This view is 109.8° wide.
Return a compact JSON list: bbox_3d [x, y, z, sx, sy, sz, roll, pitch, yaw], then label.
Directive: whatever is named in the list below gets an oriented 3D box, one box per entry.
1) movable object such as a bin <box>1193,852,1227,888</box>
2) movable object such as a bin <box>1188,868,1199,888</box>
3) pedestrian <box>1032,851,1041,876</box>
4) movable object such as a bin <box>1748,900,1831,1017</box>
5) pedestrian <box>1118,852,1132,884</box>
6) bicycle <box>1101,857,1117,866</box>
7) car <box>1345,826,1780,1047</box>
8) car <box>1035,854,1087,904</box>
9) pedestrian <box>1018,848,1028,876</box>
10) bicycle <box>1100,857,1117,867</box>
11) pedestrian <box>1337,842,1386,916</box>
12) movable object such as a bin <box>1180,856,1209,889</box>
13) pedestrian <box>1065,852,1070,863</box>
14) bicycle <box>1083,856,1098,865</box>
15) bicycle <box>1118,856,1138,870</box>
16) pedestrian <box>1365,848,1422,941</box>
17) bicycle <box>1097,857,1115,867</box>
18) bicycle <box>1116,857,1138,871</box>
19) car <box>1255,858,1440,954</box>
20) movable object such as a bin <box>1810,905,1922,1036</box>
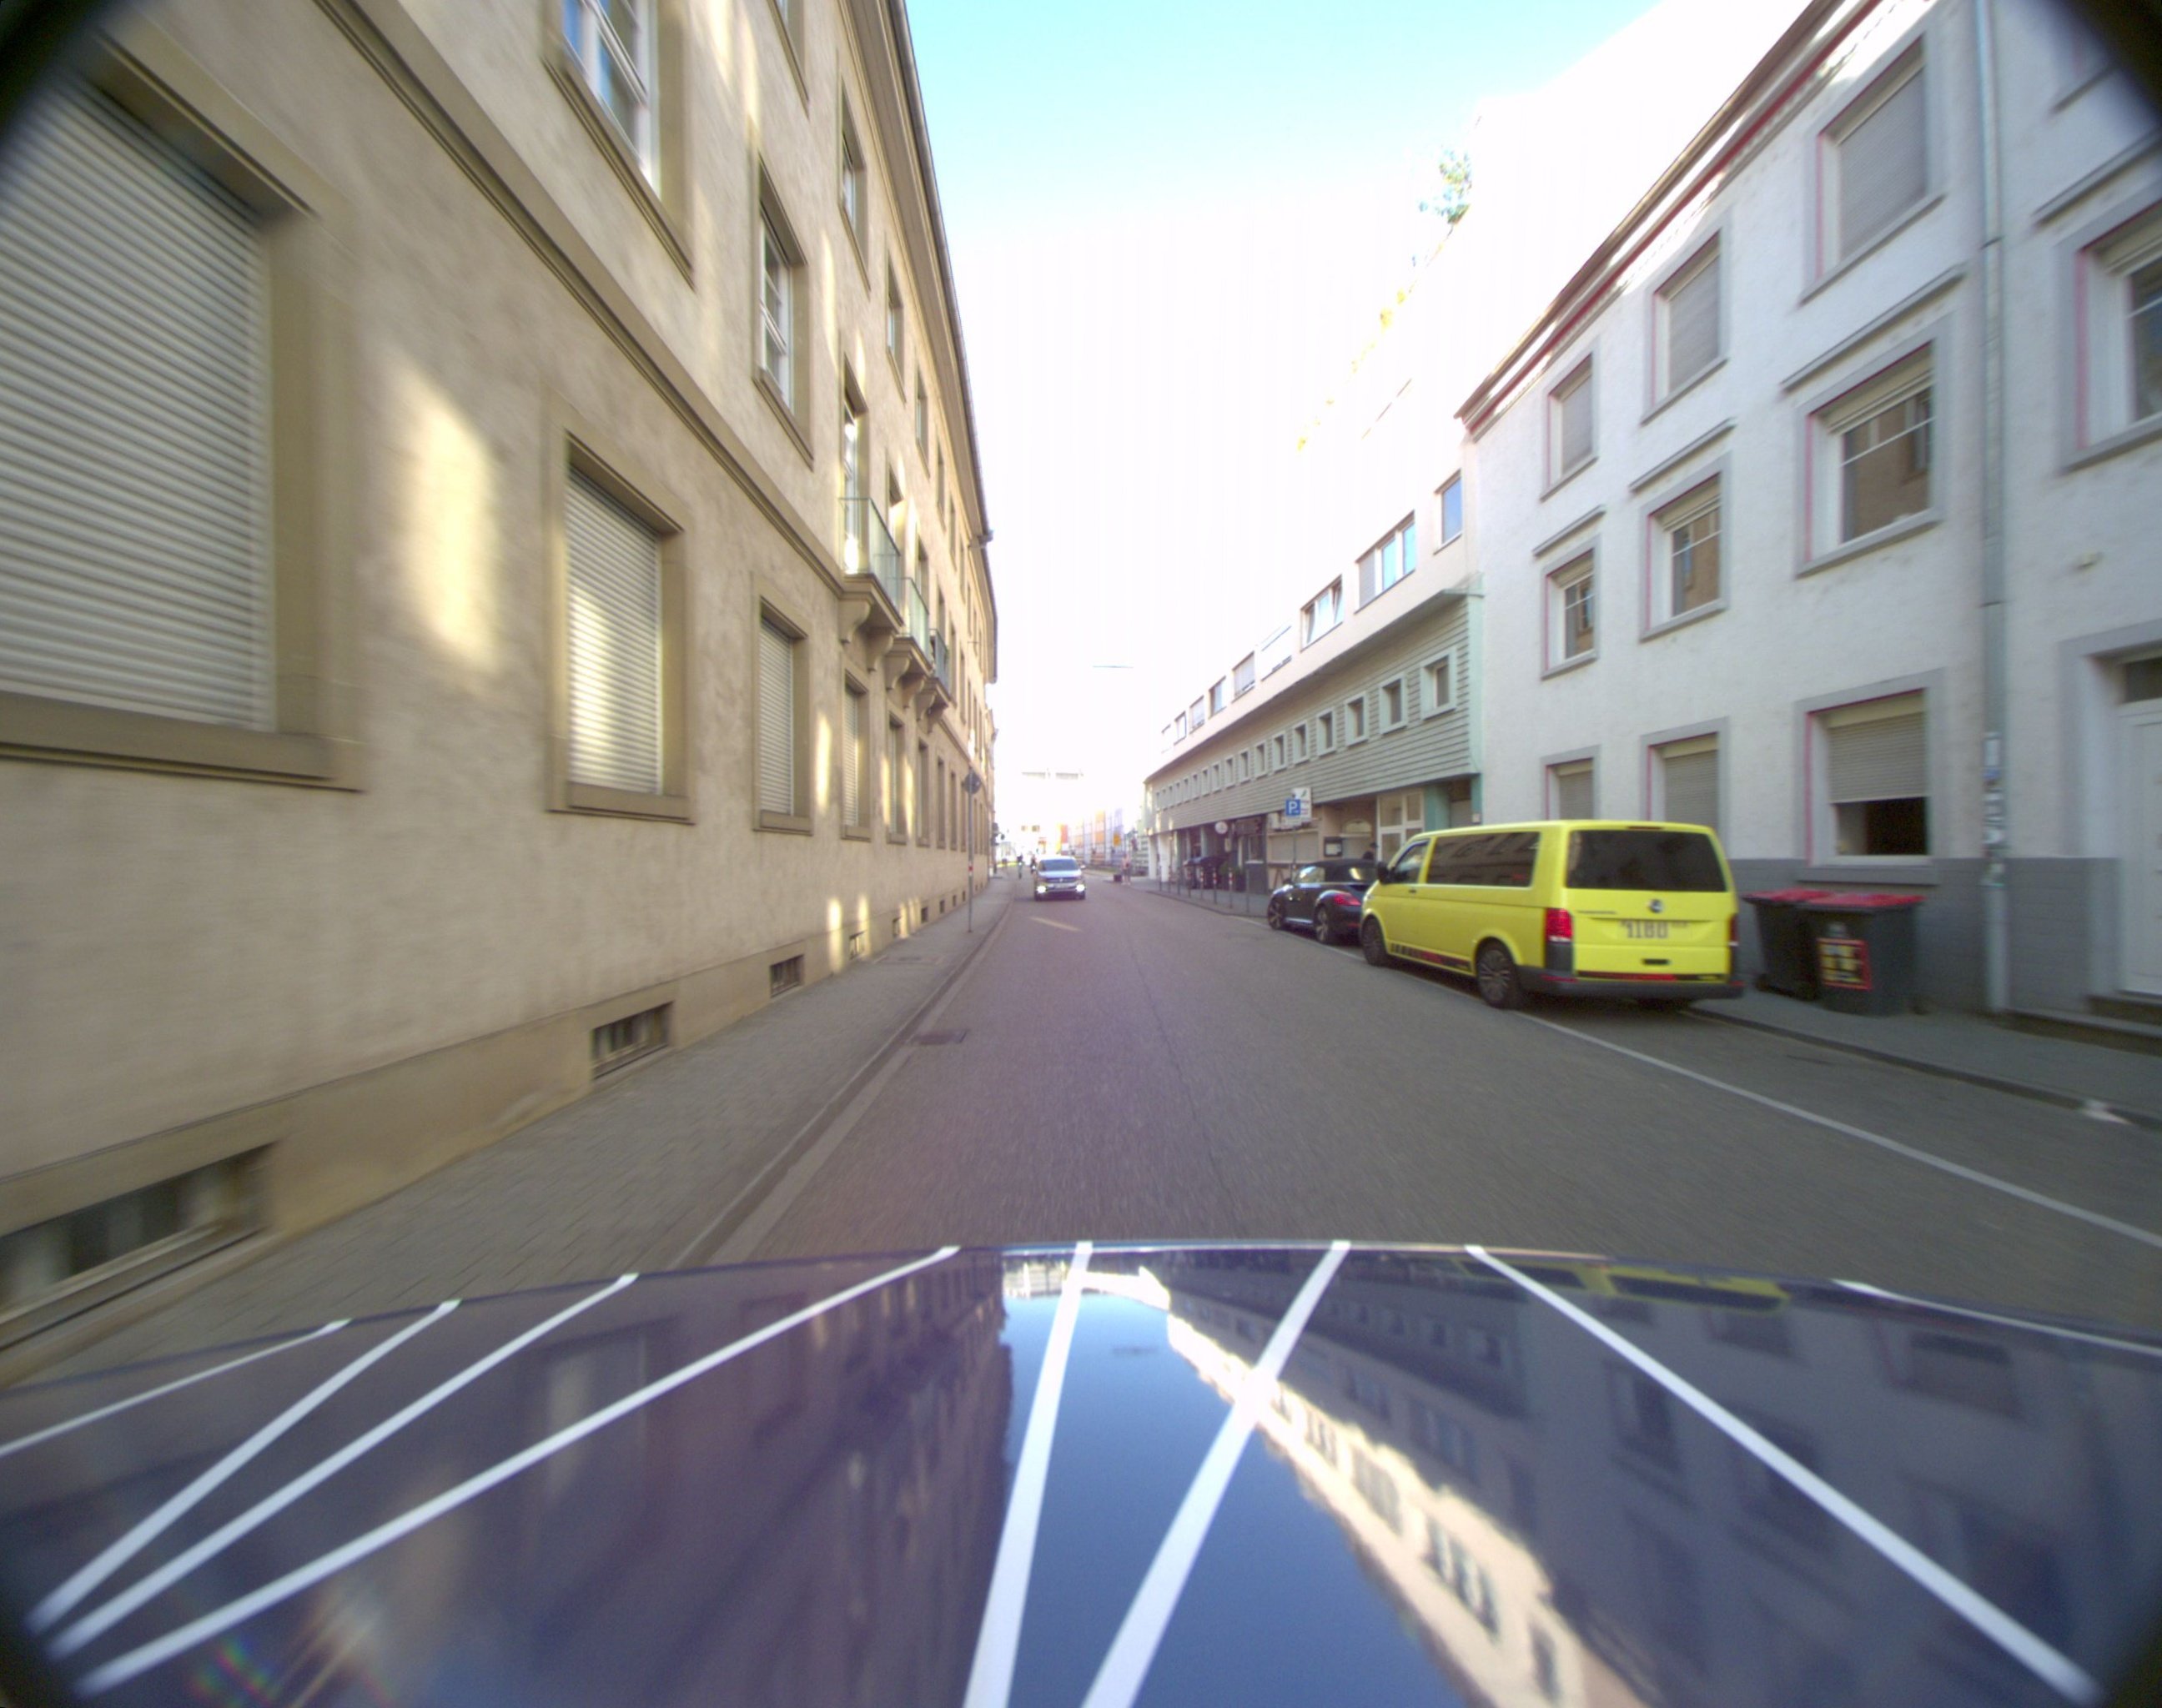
[{"bbox_3d":[5.588,0.692,33.033,1.125,1.511,1.341,-1,-1,-5],"label":"movable object such as a bin"},{"bbox_3d":[5.275,1.126,35.701,0.394,0.936,0.467,-1,0,-5],"label":"movable object such as a bin"},{"bbox_3d":[-3.188,0.679,54.592,0.603,1.770,0.651,-1,1,-6],"label":"pedestrian"},{"bbox_3d":[6.988,1.017,7.506,0.411,1.098,0.433,0,1,1],"label":"movable object such as a bin"},{"bbox_3d":[2.403,0.754,41.252,0.494,1.660,0.627,-3,1,-18],"label":"pedestrian"},{"bbox_3d":[3.079,0.823,84.686,1.658,0.940,0.388,-5,1,-6],"label":"bicycle"},{"bbox_3d":[4.986,0.712,8.957,1.885,1.856,4.863,2,0,-1],"label":"car"},{"bbox_3d":[-0.749,0.856,28.215,1.683,1.568,4.242,-4,0,-1],"label":"car"},{"bbox_3d":[-4.051,0.572,53.182,0.678,1.928,0.858,-1,1,-6],"label":"pedestrian"},{"bbox_3d":[3.009,0.840,83.419,1.803,0.940,0.388,-5,1,-6],"label":"bicycle"},{"bbox_3d":[6.745,0.586,18.319,1.079,1.718,0.803,0,1,19],"label":"pedestrian"},{"bbox_3d":[5.172,0.839,34.608,0.971,1.462,1.474,-1,-1,-5],"label":"movable object such as a bin"},{"bbox_3d":[-2.081,0.593,115.494,0.612,1.641,0.447,-1,1,-12],"label":"pedestrian"},{"bbox_3d":[1.239,0.818,99.571,1.808,0.977,0.653,-5,1,-9],"label":"bicycle"},{"bbox_3d":[4.313,0.830,70.323,1.739,1.094,0.388,-5,1,-13],"label":"bicycle"},{"bbox_3d":[5.948,0.753,14.517,0.700,1.724,0.829,0,1,-3],"label":"pedestrian"},{"bbox_3d":[2.711,0.862,82.694,1.803,0.940,0.388,-5,1,-6],"label":"bicycle"},{"bbox_3d":[4.189,0.882,68.869,1.821,1.094,0.749,-5,1,-6],"label":"bicycle"},{"bbox_3d":[4.804,0.859,14.389,1.824,1.477,4.075,2,0,-3],"label":"car"},{"bbox_3d":[6.962,1.021,6.756,0.541,1.098,0.433,0,1,1],"label":"movable object such as a bin"}]
